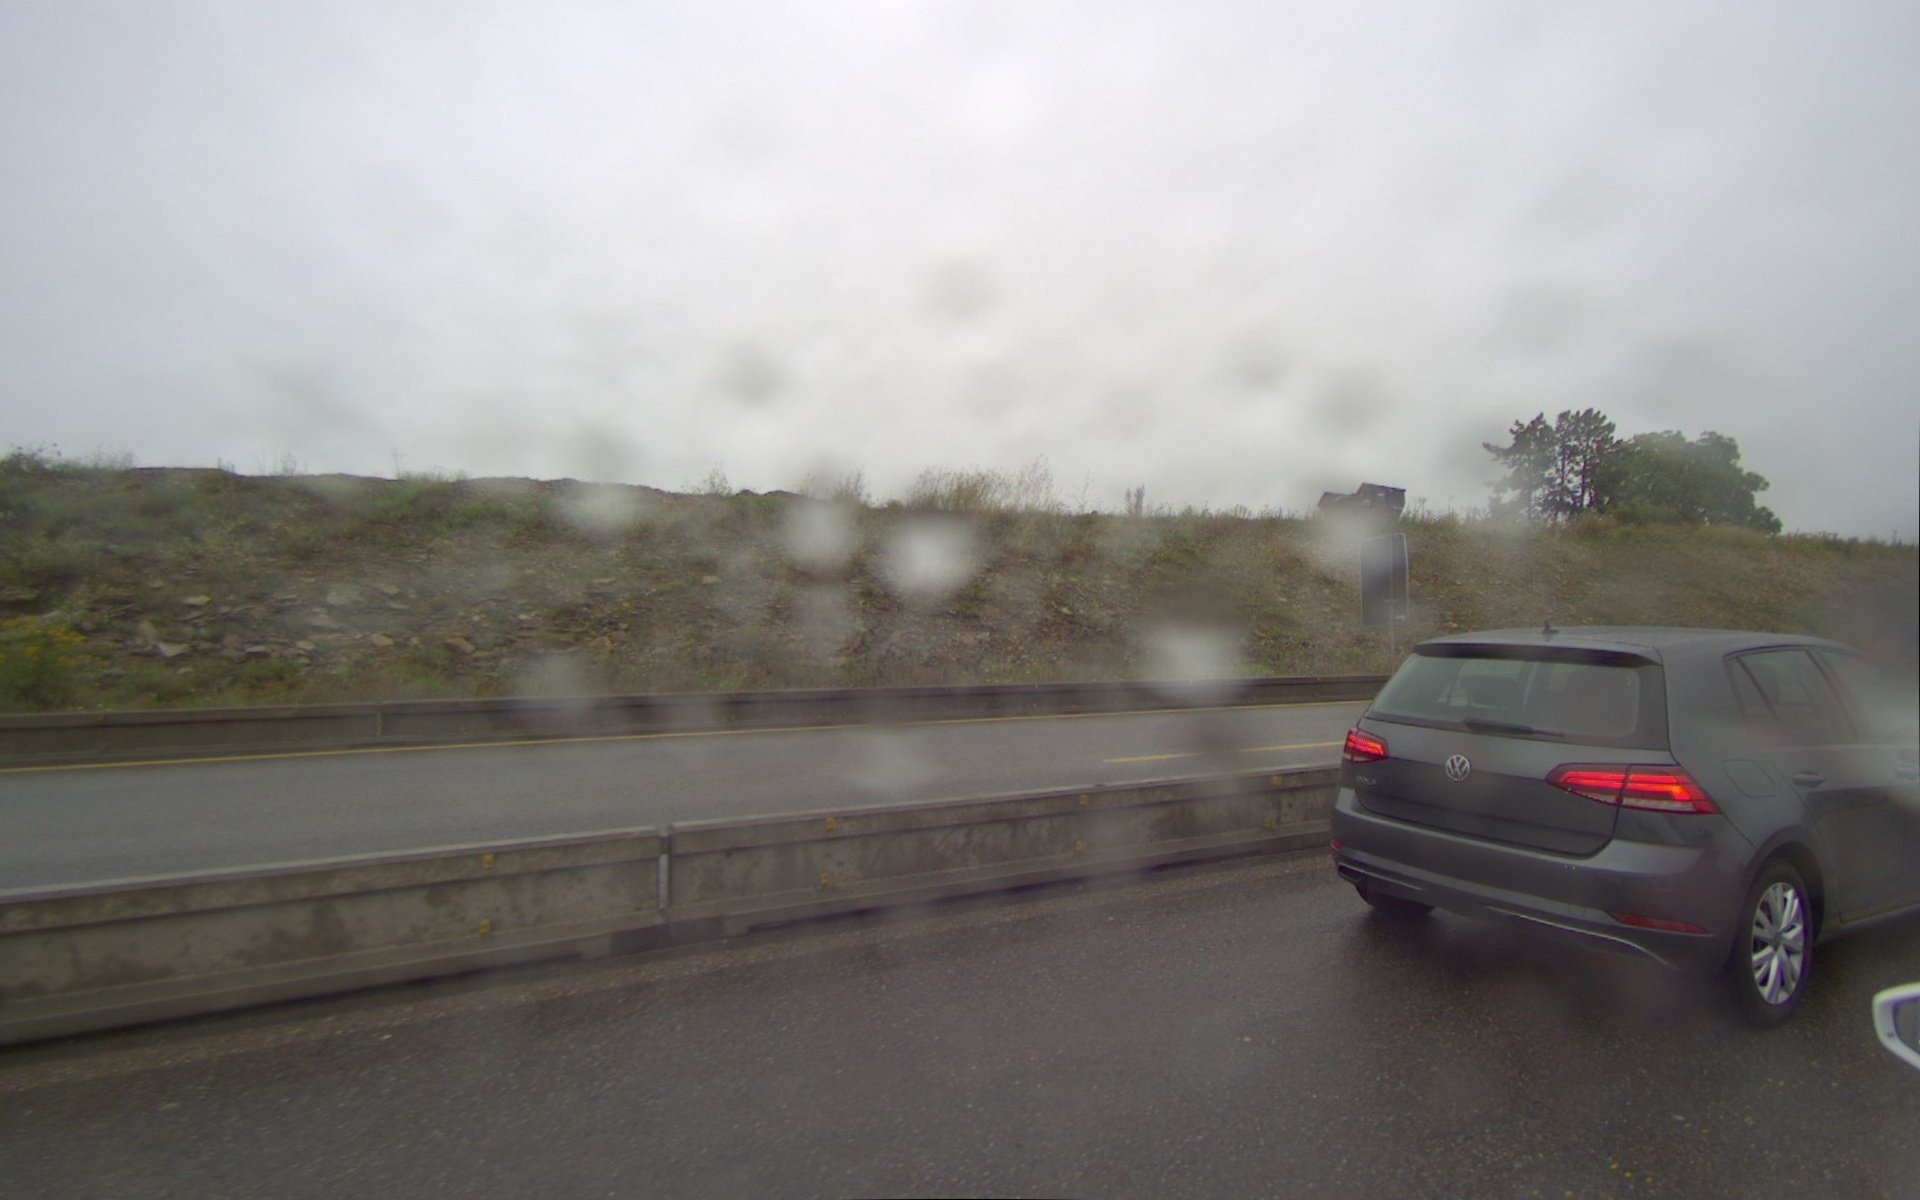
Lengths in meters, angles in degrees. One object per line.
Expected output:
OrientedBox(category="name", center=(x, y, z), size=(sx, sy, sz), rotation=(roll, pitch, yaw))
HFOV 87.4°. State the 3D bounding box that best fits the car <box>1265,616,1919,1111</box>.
OrientedBox(category="car", center=(3.630, 0.872, 4.902), size=(4.316, 1.526, 1.607), rotation=(1, -2, -30))
